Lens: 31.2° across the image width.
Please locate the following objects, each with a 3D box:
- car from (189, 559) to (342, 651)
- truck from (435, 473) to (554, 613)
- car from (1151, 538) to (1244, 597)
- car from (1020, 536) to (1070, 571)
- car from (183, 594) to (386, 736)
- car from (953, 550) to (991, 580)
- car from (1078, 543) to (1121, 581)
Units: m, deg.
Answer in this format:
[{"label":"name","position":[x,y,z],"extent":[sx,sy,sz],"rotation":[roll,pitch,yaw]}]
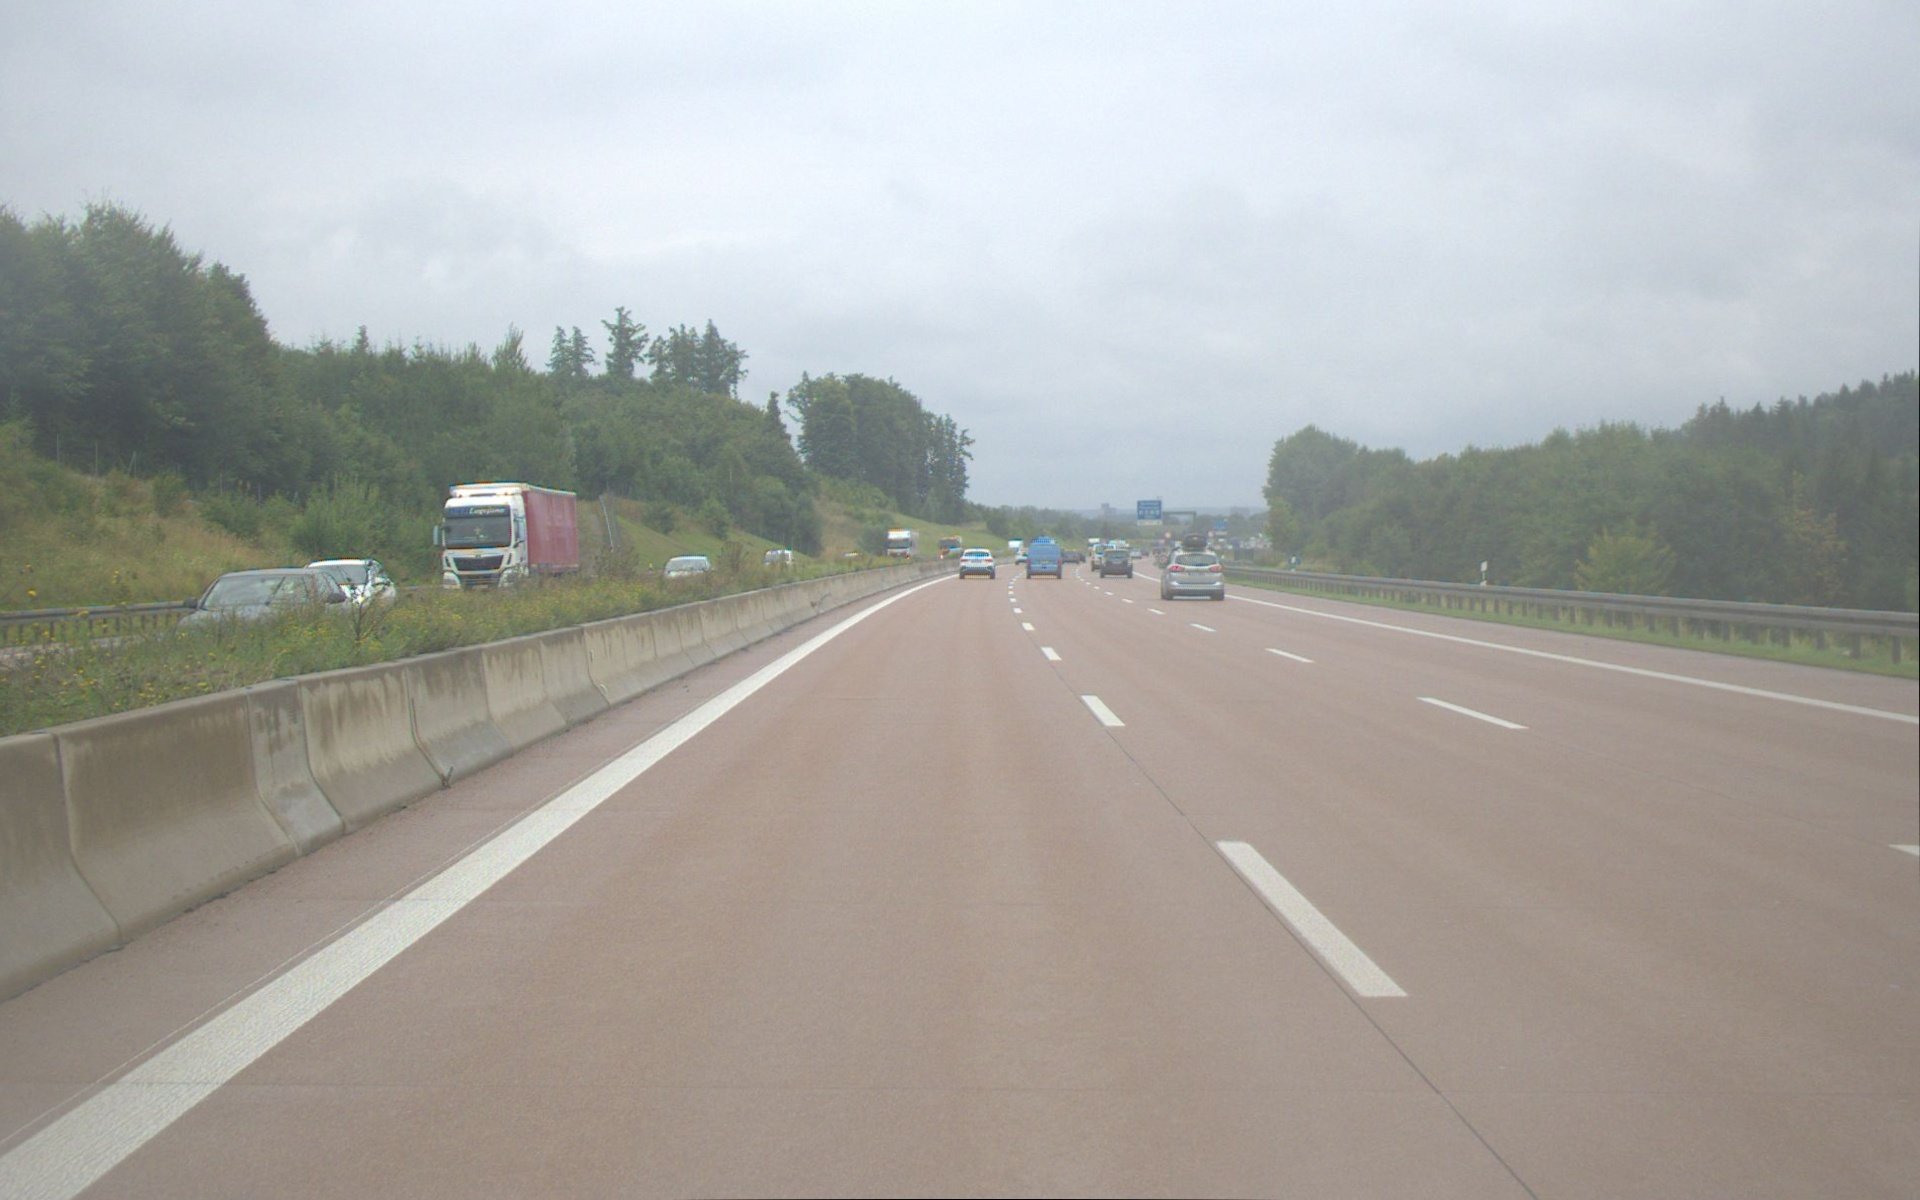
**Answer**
[{"label":"car","position":[-13.169,0.103,65.431],"extent":[1.864,1.660,4.708],"rotation":[1,0,1]},{"label":"truck","position":[-15.445,-1.842,114.471],"extent":[2.950,4.462,6.792],"rotation":[1,0,0]},{"label":"car","position":[7.367,-0.990,107.178],"extent":[2.322,1.744,4.877],"rotation":[1,0,-2]},{"label":"car","position":[4.496,-2.430,182.185],"extent":[2.322,1.744,4.877],"rotation":[1,0,-2]},{"label":"car","position":[-8.466,0.772,43.422],"extent":[1.670,1.660,4.477],"rotation":[1,0,0]},{"label":"car","position":[0.611,-1.802,178.528],"extent":[1.874,1.439,4.877],"rotation":[1,0,0]},{"label":"car","position":[7.773,-2.117,192.120],"extent":[1.993,2.007,4.000],"rotation":[1,0,-3]}]
